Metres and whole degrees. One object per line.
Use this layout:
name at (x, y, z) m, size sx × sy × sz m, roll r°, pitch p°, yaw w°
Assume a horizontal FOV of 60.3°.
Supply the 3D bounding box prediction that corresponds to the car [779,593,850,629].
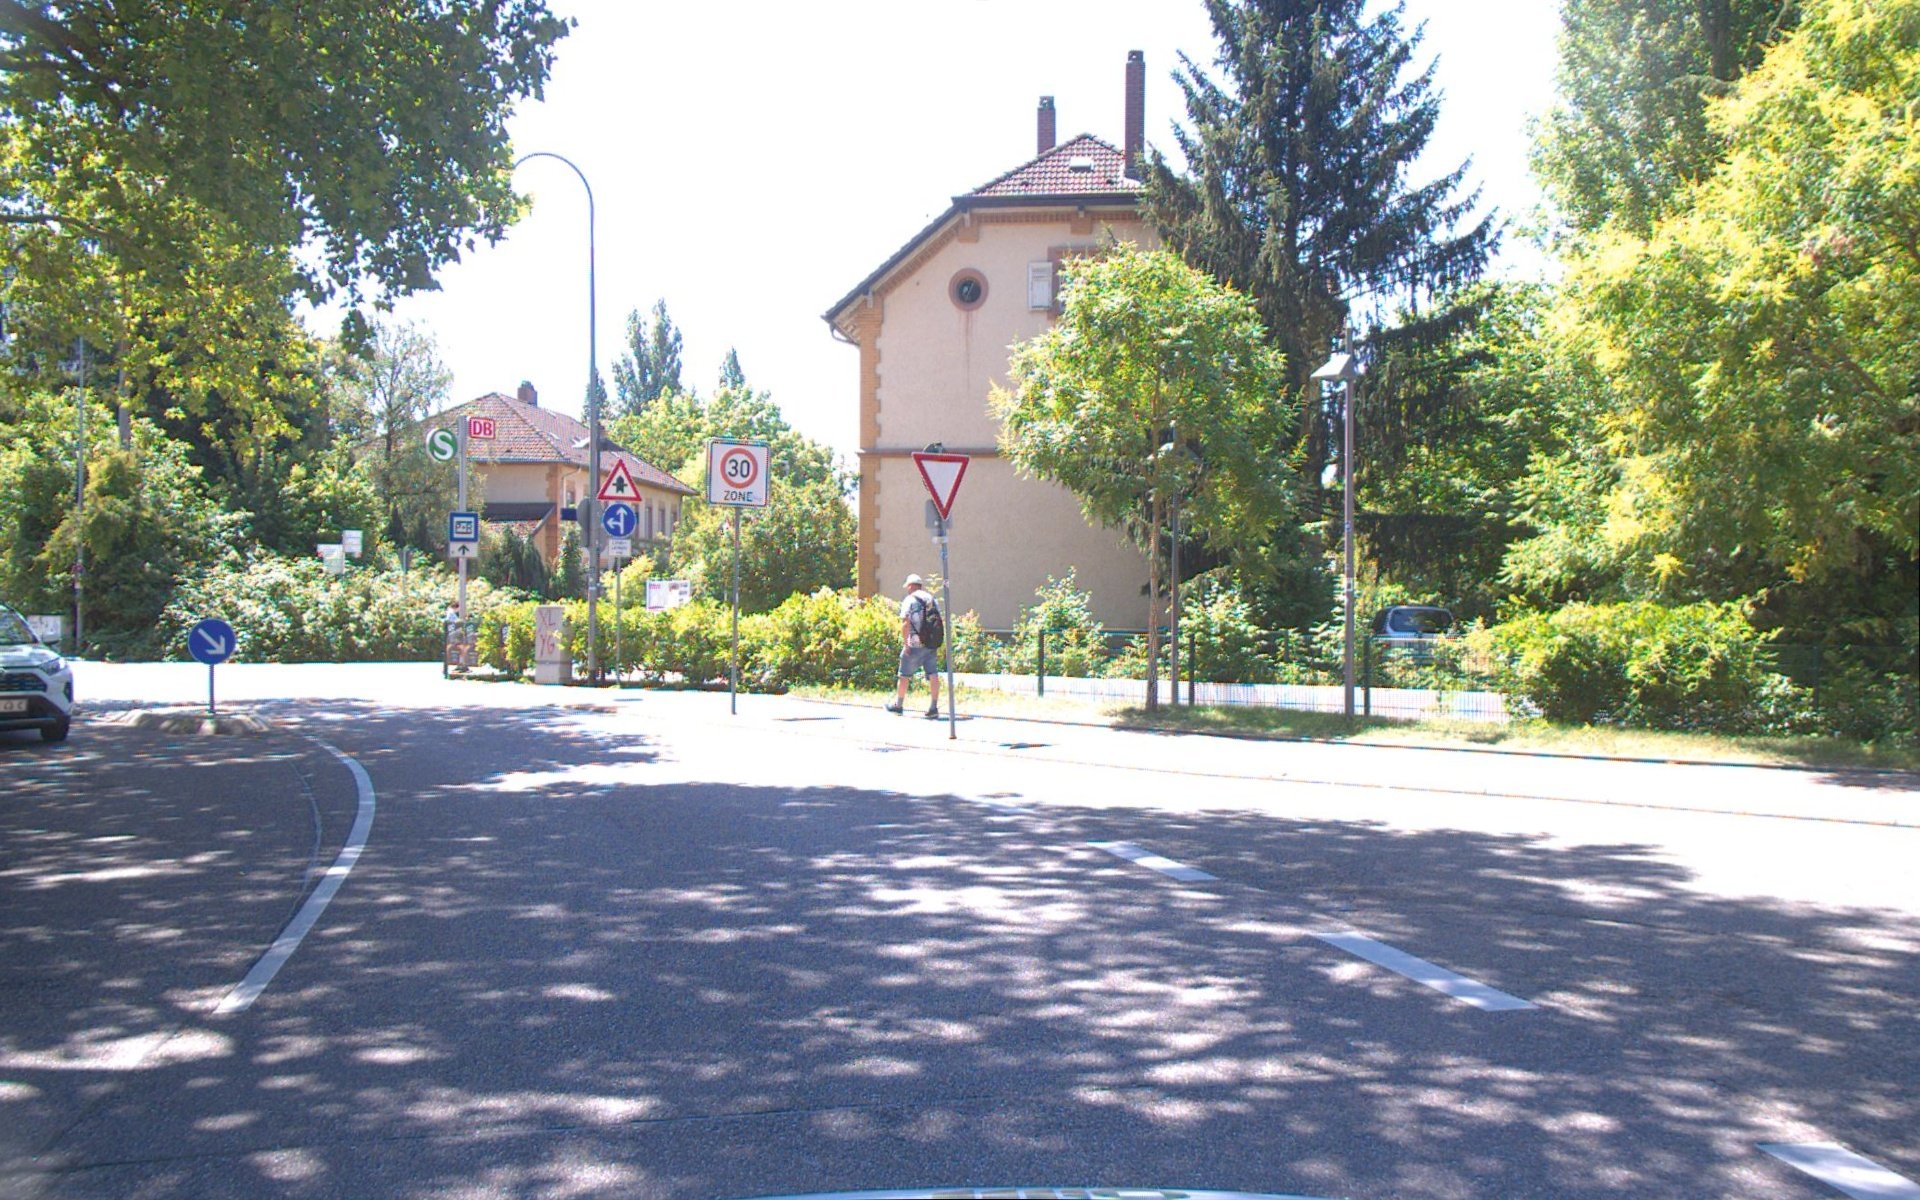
car at (-9.749, 0.709, 110.917) m, size 4.349 × 2.363 × 2.204 m, roll 0°, pitch 0°, yaw 10°

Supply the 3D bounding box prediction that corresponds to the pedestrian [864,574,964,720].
pedestrian at (-0.599, 0.590, 21.401) m, size 0.904 × 1.802 × 0.905 m, roll -3°, pitch 1°, yaw -33°

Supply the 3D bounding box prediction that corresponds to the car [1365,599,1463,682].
car at (9.143, 0.784, 33.549) m, size 1.615 × 1.563 × 3.973 m, roll 0°, pitch 0°, yaw 11°

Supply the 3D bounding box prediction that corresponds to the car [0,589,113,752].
car at (-12.053, 0.806, 19.997) m, size 2.035 × 1.778 × 4.252 m, roll -2°, pitch 1°, yaw -45°

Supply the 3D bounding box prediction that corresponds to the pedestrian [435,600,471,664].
pedestrian at (-13.564, 0.852, 44.242) m, size 0.687 × 1.656 × 0.614 m, roll 2°, pitch 1°, yaw 40°

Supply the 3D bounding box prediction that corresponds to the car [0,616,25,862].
car at (-6.009, 0.841, 8.371) m, size 1.617 × 1.442 × 3.975 m, roll -1°, pitch 0°, yaw -21°
